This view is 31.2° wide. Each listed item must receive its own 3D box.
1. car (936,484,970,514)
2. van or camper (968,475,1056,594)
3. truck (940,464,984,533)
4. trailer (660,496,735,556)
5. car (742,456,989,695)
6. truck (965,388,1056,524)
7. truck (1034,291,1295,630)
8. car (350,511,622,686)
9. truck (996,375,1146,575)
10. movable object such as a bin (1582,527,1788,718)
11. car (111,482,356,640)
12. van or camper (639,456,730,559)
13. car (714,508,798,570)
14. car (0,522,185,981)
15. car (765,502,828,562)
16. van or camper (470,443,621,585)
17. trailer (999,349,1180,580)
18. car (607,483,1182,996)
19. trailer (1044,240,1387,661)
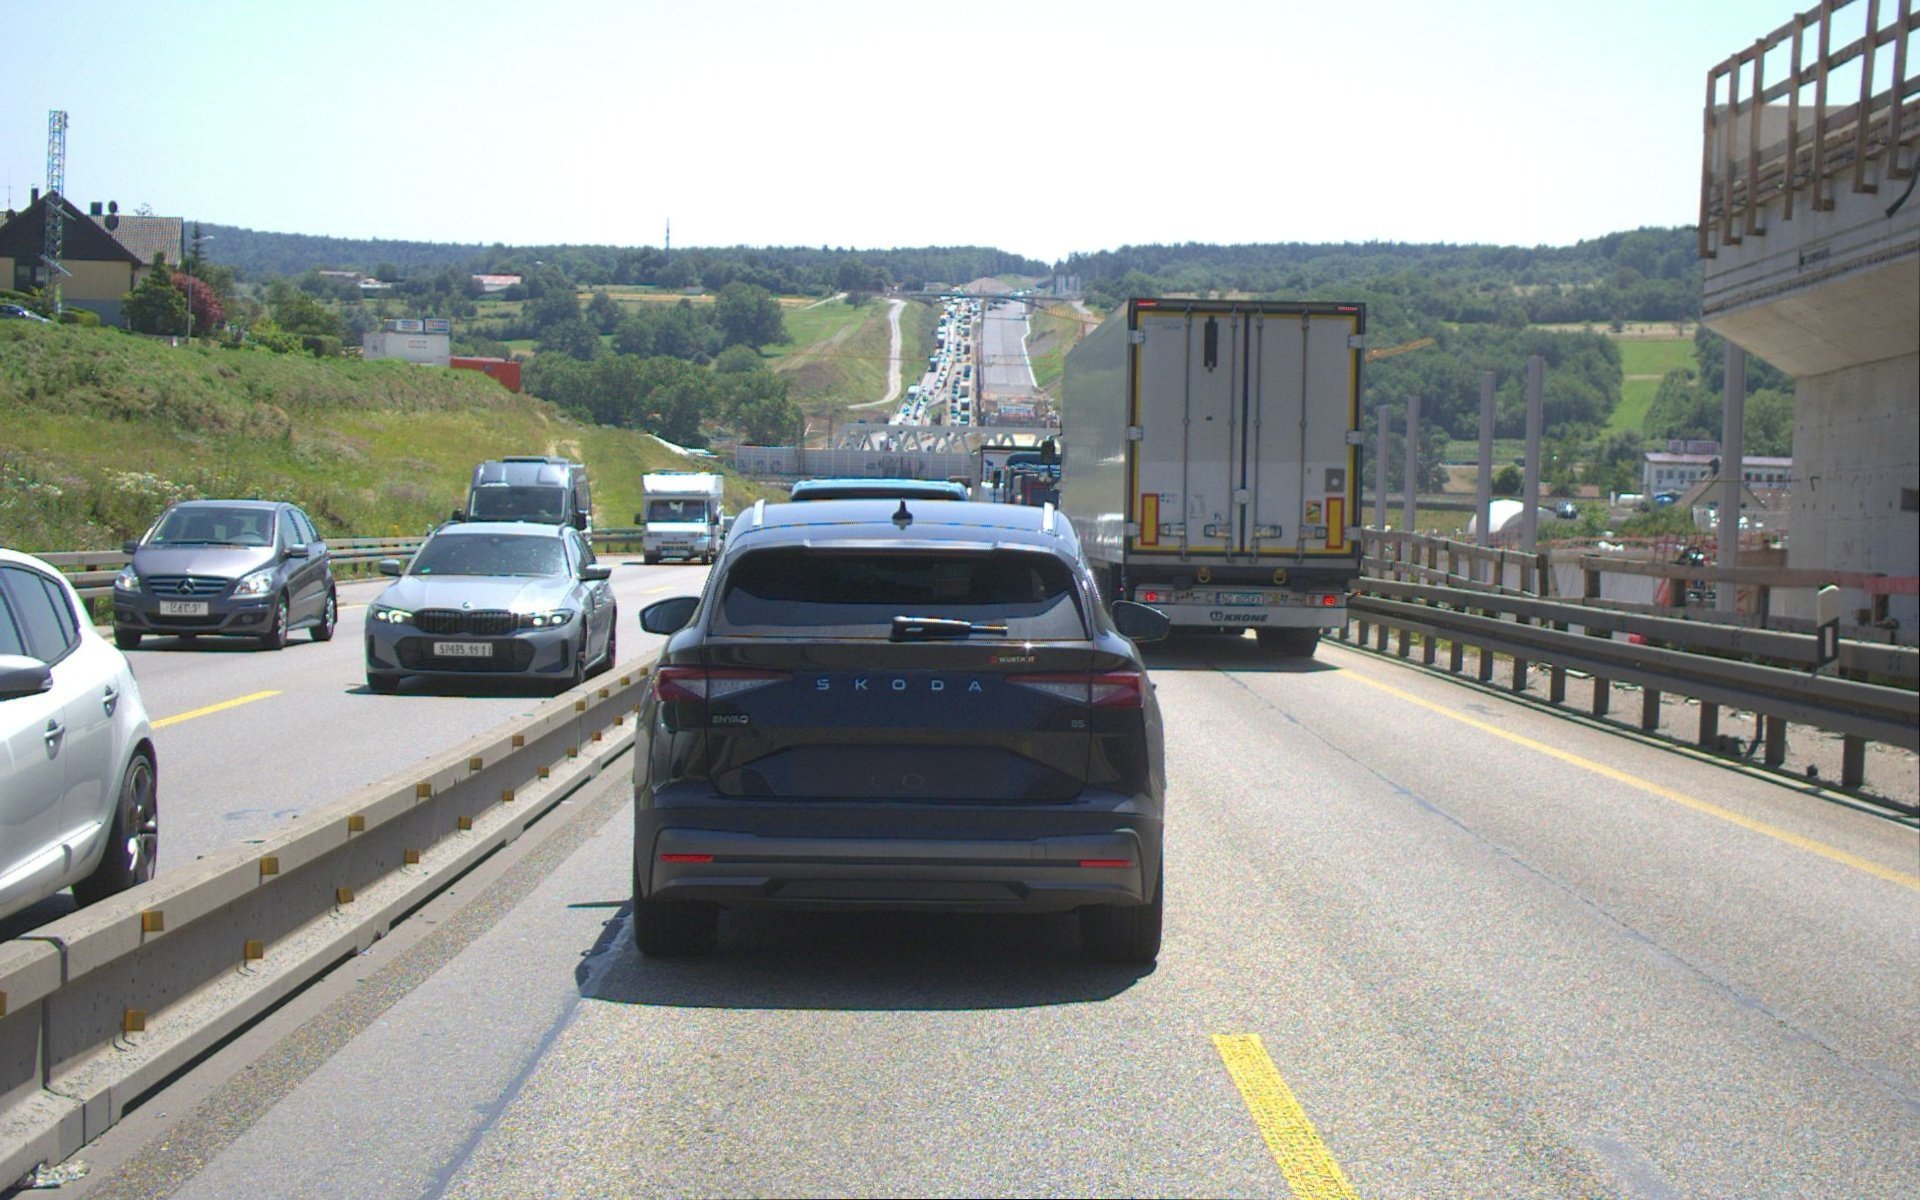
[{"bbox_3d":[-0.392,-5.599,191.100,1.813,1.596,4.573,1,1,0],"label":"car"},{"bbox_3d":[1.538,-1.844,98.606,2.389,3.269,6.469,1,0,2],"label":"van or camper"},{"bbox_3d":[0.103,-6.447,219.578,2.640,4.179,9.284,1,0,0],"label":"truck"},{"bbox_3d":[-8.587,-2.431,112.872,2.101,1.887,5.142,1,1,-1],"label":"trailer"},{"bbox_3d":[-0.806,-0.216,30.427,1.993,1.919,4.508,1,0,-1],"label":"car"},{"bbox_3d":[1.764,-5.110,124.777,2.852,4.450,11.918,1,0,-1],"label":"truck"},{"bbox_3d":[2.834,-2.000,50.265,3.180,4.497,8.166,1,2,-1],"label":"truck"},{"bbox_3d":[-4.138,-0.067,30.684,1.829,1.428,4.630,0,1,-1],"label":"car"},{"bbox_3d":[2.566,-2.869,82.342,3.180,4.497,8.166,1,0,-1],"label":"truck"},{"bbox_3d":[19.032,0.530,90.923,3.227,4.726,9.656,1,0,-1],"label":"movable object such as a bin"},{"bbox_3d":[-7.900,-0.451,37.726,1.773,1.576,4.286,2,1,-1],"label":"car"},{"bbox_3d":[-8.514,-2.876,106.961,2.291,3.056,6.924,1,1,-1],"label":"van or camper"},{"bbox_3d":[-5.013,-1.518,84.993,1.843,1.470,4.835,1,1,-1],"label":"car"},{"bbox_3d":[-3.965,0.458,11.656,1.802,1.459,4.000,1,1,-1],"label":"car"},{"bbox_3d":[-5.170,-2.177,109.239,1.837,1.821,5.041,1,1,-1],"label":"car"},{"bbox_3d":[-7.941,-1.663,66.407,2.140,2.564,6.565,1,1,-1],"label":"van or camper"},{"bbox_3d":[2.630,-2.718,75.247,3.180,4.497,14.967,1,0,-1],"label":"trailer"},{"bbox_3d":[-0.203,0.410,12.916,1.802,1.602,4.000,1,1,0],"label":"car"},{"bbox_3d":[2.919,-1.825,43.726,3.180,4.497,13.110,1,2,-1],"label":"trailer"}]
